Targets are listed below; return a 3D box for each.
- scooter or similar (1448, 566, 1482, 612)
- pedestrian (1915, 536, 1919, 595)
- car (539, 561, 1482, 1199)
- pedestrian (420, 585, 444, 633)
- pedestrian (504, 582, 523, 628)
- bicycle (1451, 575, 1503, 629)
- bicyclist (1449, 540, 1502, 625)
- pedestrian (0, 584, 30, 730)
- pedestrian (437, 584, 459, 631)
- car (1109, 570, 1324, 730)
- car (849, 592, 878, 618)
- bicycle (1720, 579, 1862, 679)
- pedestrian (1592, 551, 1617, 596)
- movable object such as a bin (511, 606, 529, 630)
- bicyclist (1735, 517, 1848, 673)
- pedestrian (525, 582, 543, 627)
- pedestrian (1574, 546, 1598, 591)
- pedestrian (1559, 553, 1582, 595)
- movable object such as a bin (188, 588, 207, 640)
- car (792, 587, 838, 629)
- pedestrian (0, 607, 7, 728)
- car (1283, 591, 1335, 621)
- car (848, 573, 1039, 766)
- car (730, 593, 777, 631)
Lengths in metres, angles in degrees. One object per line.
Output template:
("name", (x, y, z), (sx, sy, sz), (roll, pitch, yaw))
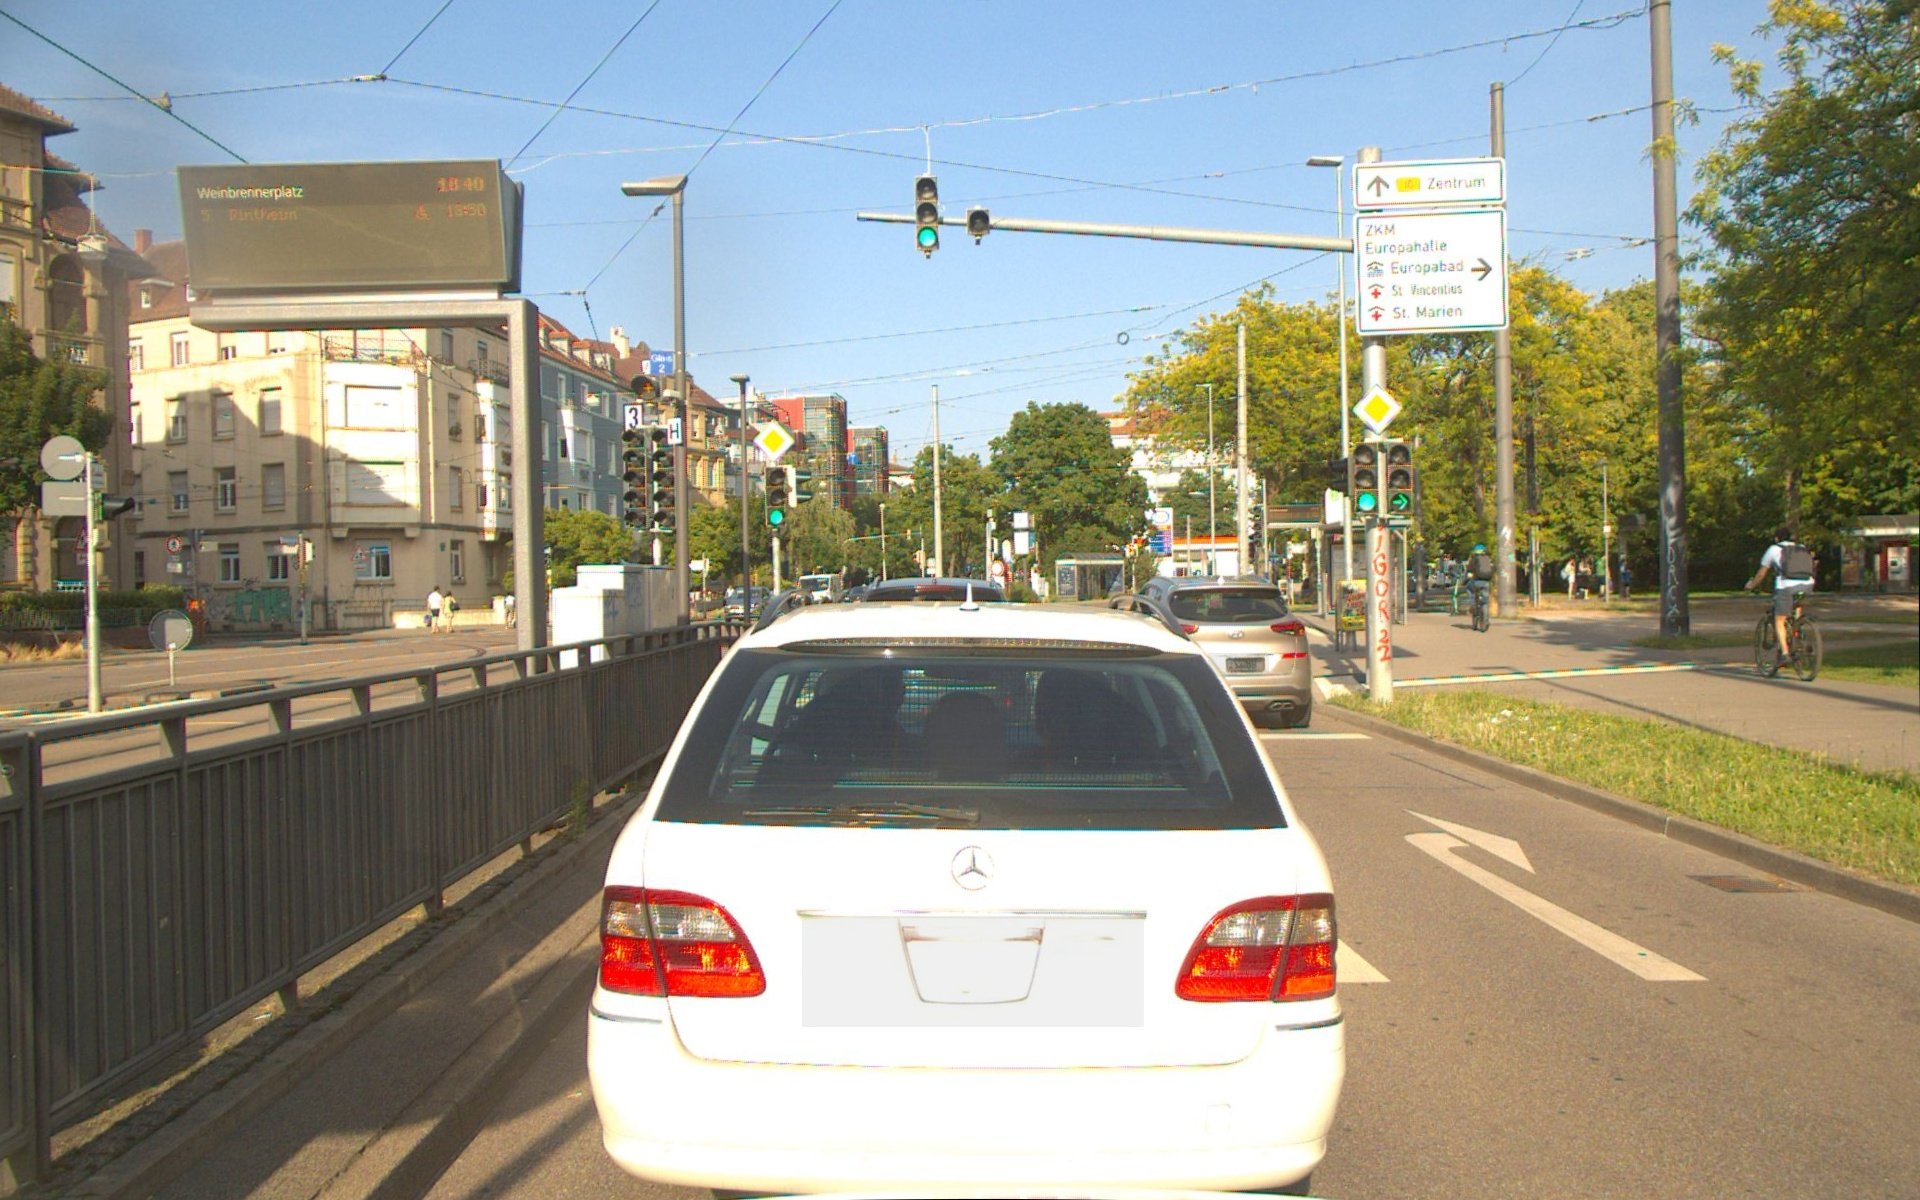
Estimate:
("scooter or similar", (13.939, -0.299, 45.660), (0.345, 1.253, 1.131), (-1, 0, -15))
("pedestrian", (31.323, -1.110, 53.488), (0.456, 1.900, 0.599), (1, -1, -31))
("car", (0.074, 0.678, 5.067), (1.798, 1.527, 3.814), (0, 0, -1))
("pedestrian", (-21.178, 0.348, 66.308), (0.644, 1.913, 0.627), (-1, 0, 14))
("pedestrian", (-18.850, 0.195, 69.883), (0.572, 1.913, 0.626), (-1, 0, -1))
("bicycle", (11.266, 0.031, 36.080), (0.627, 1.107, 1.734), (-4, 0, 3))
("bicyclist", (11.197, -0.375, 35.943), (0.705, 1.776, 1.140), (-4, 0, 3))
("pedestrian", (-11.493, 0.673, 19.280), (0.657, 1.699, 0.882), (-1, 0, 29))
("pedestrian", (-20.496, 0.294, 66.252), (0.661, 1.880, 0.649), (-1, 0, -3))
("car", (2.800, 0.498, 18.844), (1.798, 1.628, 3.814), (0, 0, -1))
("car", (-6.500, 0.335, 112.043), (1.731, 1.520, 4.744), (-2, 2, -1))
("bicycle", (9.964, 0.324, 19.909), (0.627, 1.107, 1.939), (-4, 0, -1))
("pedestrian", (24.525, -1.014, 62.933), (0.628, 1.694, 0.690), (-1, 0, -1))
("movable object such as a bin", (-18.849, 0.770, 70.898), (0.571, 0.963, 0.663), (-1, 0, 1))
("bicyclist", (9.939, -0.062, 19.803), (0.636, 1.776, 1.140), (-4, 0, -2))
("pedestrian", (-18.048, 0.189, 70.153), (0.573, 1.913, 0.626), (-1, 1, -3))
("pedestrian", (24.254, -1.213, 64.102), (0.628, 1.694, 0.690), (-1, 0, -1))
("pedestrian", (23.970, -1.019, 64.945), (0.628, 1.638, 0.690), (-1, 0, -1))
("movable object such as a bin", (-25.637, 0.465, 55.583), (0.261, 1.739, 2.357), (-2, 1, -31))
("car", (-8.199, 0.421, 94.073), (2.132, 2.278, 5.253), (-1, 1, -1))
("pedestrian", (-13.160, 0.914, 21.978), (0.578, 1.617, 0.715), (-1, 0, -5))
("car", (19.984, 0.338, 94.657), (1.818, 1.542, 3.994), (-3, 0, 29))
("car", (-0.170, 0.574, 15.899), (1.608, 1.628, 3.814), (0, 0, -1))
("car", (-9.448, 0.519, 75.964), (1.642, 1.552, 4.124), (-1, 2, 0))
